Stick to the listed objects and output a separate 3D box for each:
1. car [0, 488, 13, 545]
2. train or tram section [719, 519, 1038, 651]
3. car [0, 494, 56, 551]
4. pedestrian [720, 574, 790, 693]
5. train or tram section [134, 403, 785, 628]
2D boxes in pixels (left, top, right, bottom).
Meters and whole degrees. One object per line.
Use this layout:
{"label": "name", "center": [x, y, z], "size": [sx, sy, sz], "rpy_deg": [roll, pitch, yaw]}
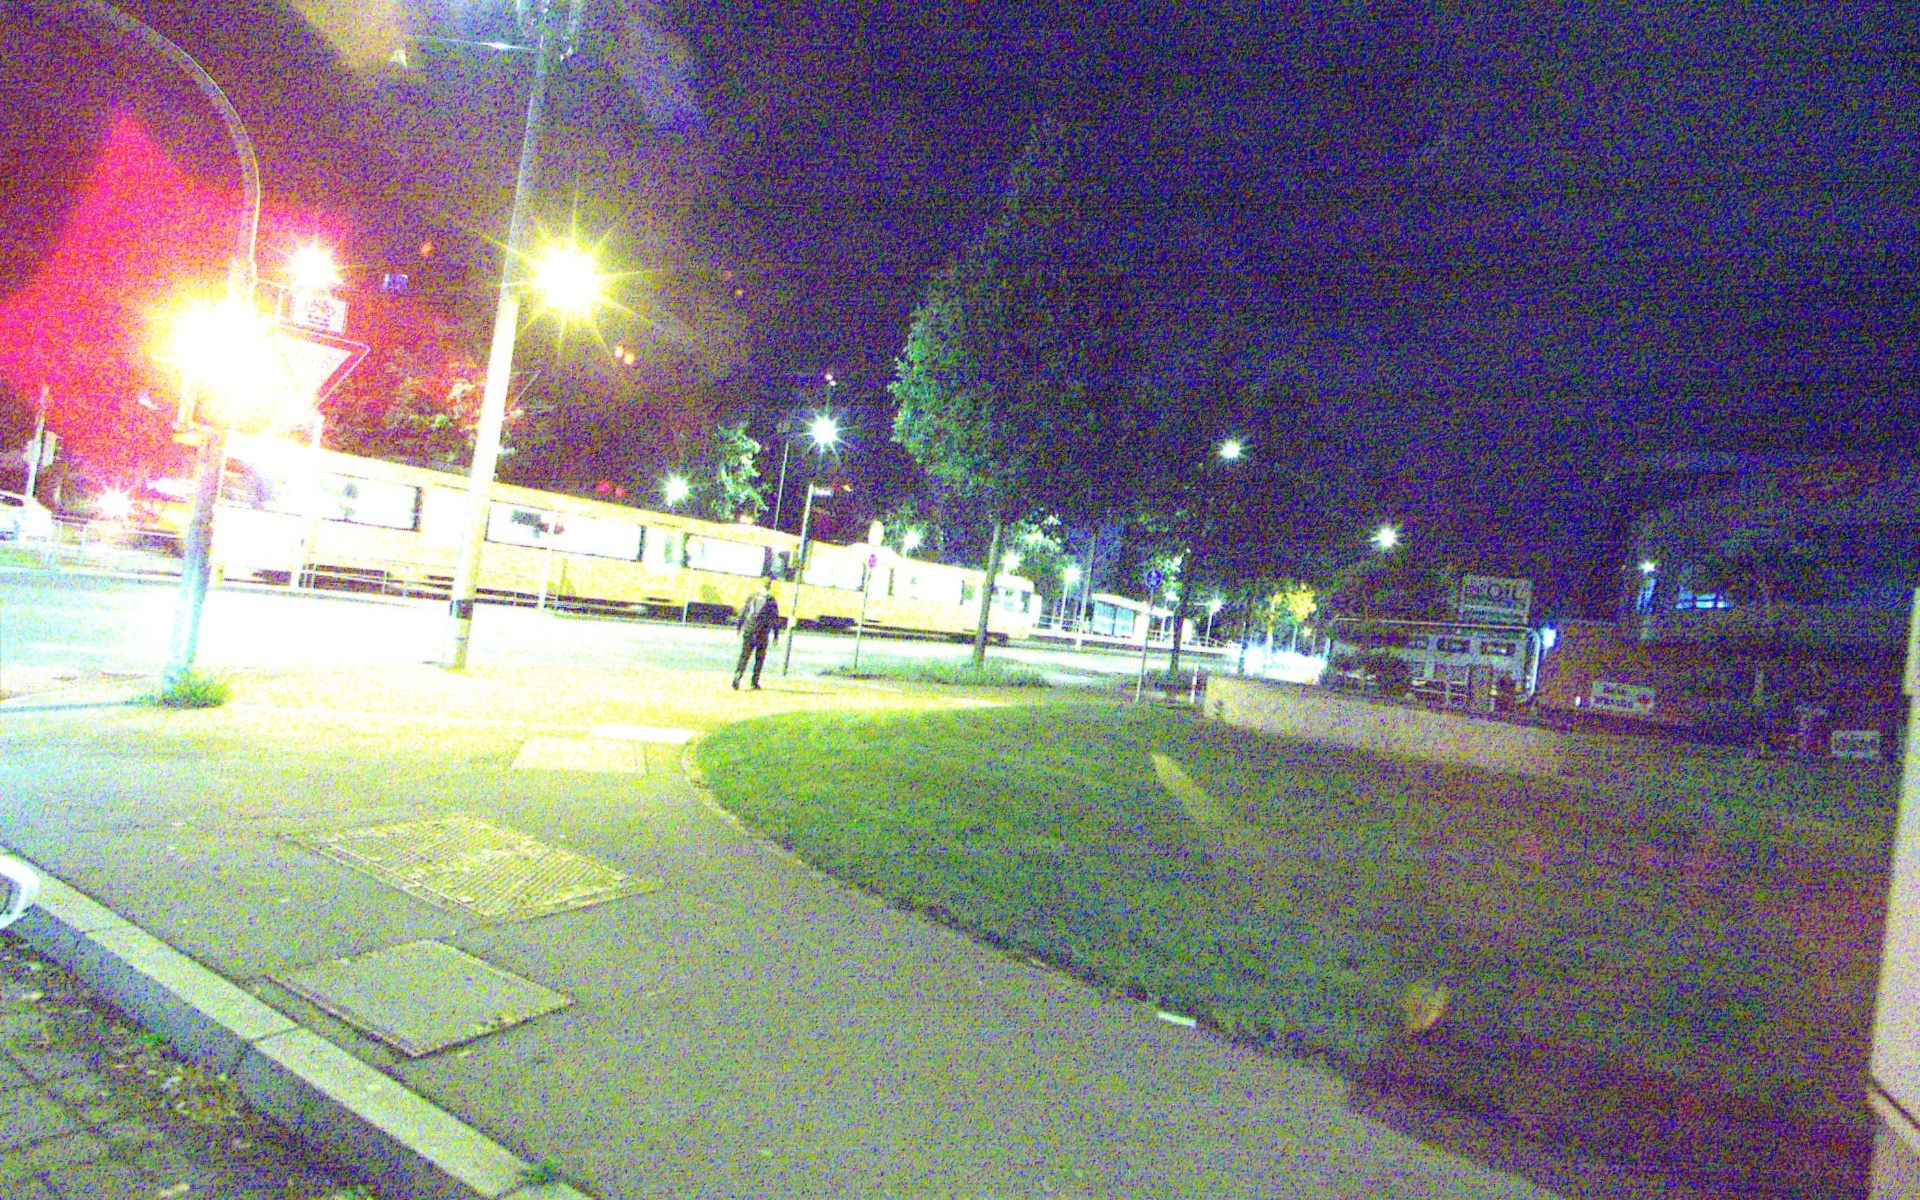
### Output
{"label": "car", "center": [-27.733, -2.534, 26.378], "size": [1.840, 1.502, 3.840], "rpy_deg": [5, -3, 35]}
{"label": "train or tram section", "center": [-2.630, -0.248, 46.109], "size": [2.919, 3.894, 18.866], "rpy_deg": [6, -2, 35]}
{"label": "car", "center": [-29.430, -2.555, 29.060], "size": [1.751, 1.503, 4.581], "rpy_deg": [7, -2, 35]}
{"label": "pedestrian", "center": [-3.041, 0.484, 14.865], "size": [0.867, 1.677, 0.835], "rpy_deg": [3, 1, -18]}
{"label": "train or tram section", "center": [-13.224, -1.832, 30.867], "size": [2.918, 3.896, 18.427], "rpy_deg": [9, 0, 35]}
